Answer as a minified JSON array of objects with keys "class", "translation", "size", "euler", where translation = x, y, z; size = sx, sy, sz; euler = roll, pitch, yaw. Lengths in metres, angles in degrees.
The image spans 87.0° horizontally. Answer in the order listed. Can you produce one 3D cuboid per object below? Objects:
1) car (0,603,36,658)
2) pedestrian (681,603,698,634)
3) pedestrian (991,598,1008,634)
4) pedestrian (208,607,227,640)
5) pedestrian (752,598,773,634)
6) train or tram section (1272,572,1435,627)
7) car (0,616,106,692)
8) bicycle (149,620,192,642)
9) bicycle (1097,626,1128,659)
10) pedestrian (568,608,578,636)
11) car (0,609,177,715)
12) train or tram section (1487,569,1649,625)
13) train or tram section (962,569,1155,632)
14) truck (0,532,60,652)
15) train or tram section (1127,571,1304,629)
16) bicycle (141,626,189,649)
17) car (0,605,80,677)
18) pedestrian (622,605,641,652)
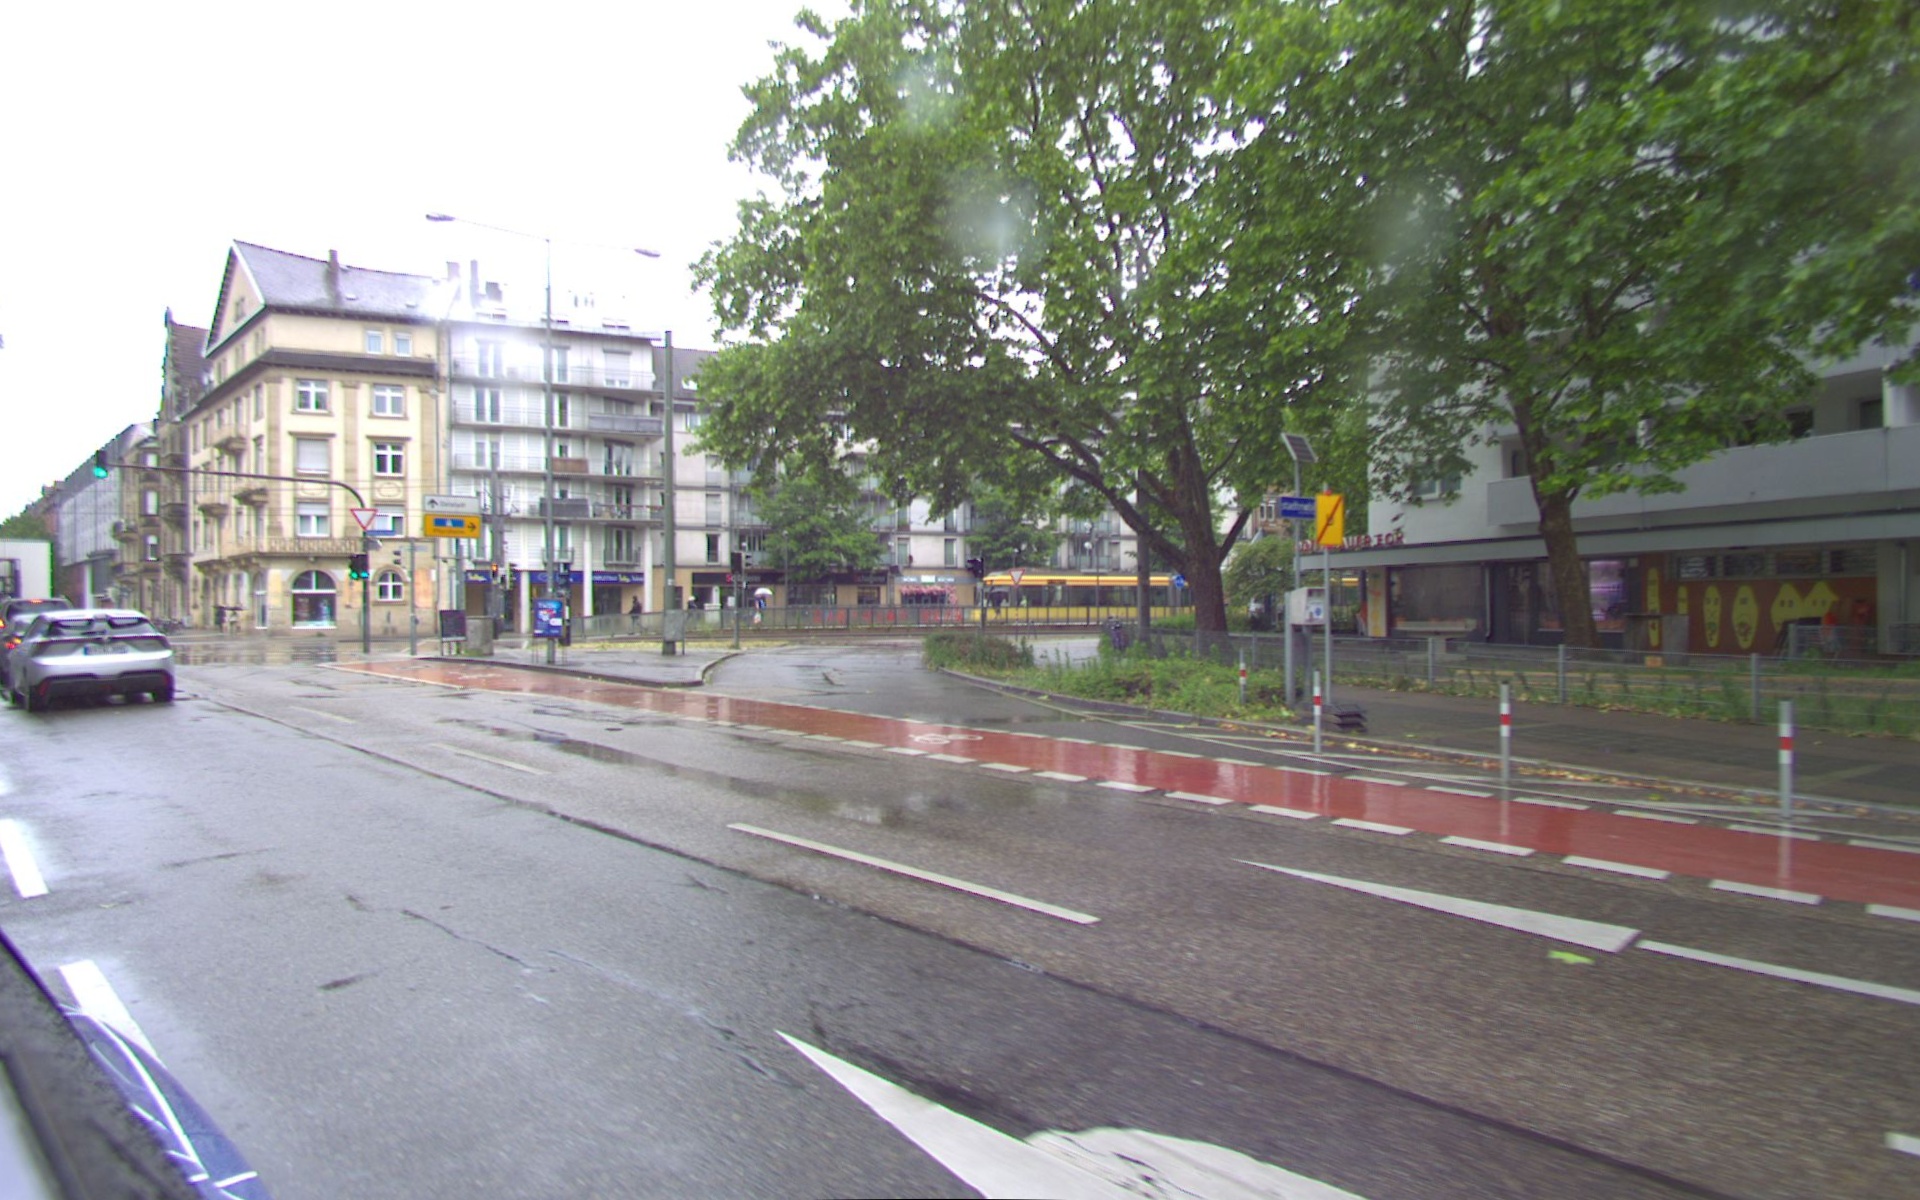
[{"class":"car","translation":[-30.060,0.938,31.489],"size":[4.001,1.616,1.723],"euler":[-1,-1,44]},{"class":"pedestrian","translation":[-14.657,1.022,54.849],"size":[0.743,1.661,0.840],"euler":[1,-2,-26]},{"class":"pedestrian","translation":[2.027,0.821,51.949],"size":[0.667,1.852,0.642],"euler":[1,-2,-23]},{"class":"pedestrian","translation":[-45.562,1.435,62.112],"size":[0.906,1.980,0.702],"euler":[0,2,-36]},{"class":"pedestrian","translation":[-9.285,0.764,47.532],"size":[0.803,1.661,0.796],"euler":[1,-2,-23]},{"class":"train or tram section","translation":[26.969,-0.029,69.203],"size":[11.376,3.530,3.083],"euler":[0,-1,-22]},{"class":"car","translation":[-19.958,1.096,21.983],"size":[4.364,1.400,1.723],"euler":[0,1,44]},{"class":"bicycle","translation":[-49.717,1.958,63.732],"size":[0.584,1.356,2.037],"euler":[-2,-1,38]},{"class":"bicycle","translation":[4.706,1.297,31.406],"size":[0.630,0.875,2.316],"euler":[-1,1,1]},{"class":"pedestrian","translation":[-25.282,1.429,66.115],"size":[0.601,1.793,0.501],"euler":[0,-1,-22]},{"class":"car","translation":[-14.409,0.926,16.620],"size":[4.055,1.521,1.825],"euler":[-1,-1,43]},{"class":"train or tram section","translation":[40.679,-0.181,67.628],"size":[11.376,3.530,3.083],"euler":[0,-1,-22]},{"class":"train or tram section","translation":[5.947,0.036,60.537],"size":[11.376,3.530,3.083],"euler":[0,-1,-22]},{"class":"truck","translation":[-36.155,-0.184,37.658],"size":[10.313,4.056,2.815],"euler":[-1,-2,42]},{"class":"train or tram section","translation":[16.455,0.014,64.868],"size":[11.376,3.530,3.083],"euler":[0,-1,-22]},{"class":"bicycle","translation":[-49.633,2.315,63.207],"size":[0.639,1.356,2.317],"euler":[-2,-1,38]},{"class":"car","translation":[-25.897,1.093,28.167],"size":[4.111,1.876,1.786],"euler":[-1,-1,44]},{"class":"pedestrian","translation":[-14.607,1.262,45.029],"size":[0.690,2.093,0.639],"euler":[0,-1,-27]}]
